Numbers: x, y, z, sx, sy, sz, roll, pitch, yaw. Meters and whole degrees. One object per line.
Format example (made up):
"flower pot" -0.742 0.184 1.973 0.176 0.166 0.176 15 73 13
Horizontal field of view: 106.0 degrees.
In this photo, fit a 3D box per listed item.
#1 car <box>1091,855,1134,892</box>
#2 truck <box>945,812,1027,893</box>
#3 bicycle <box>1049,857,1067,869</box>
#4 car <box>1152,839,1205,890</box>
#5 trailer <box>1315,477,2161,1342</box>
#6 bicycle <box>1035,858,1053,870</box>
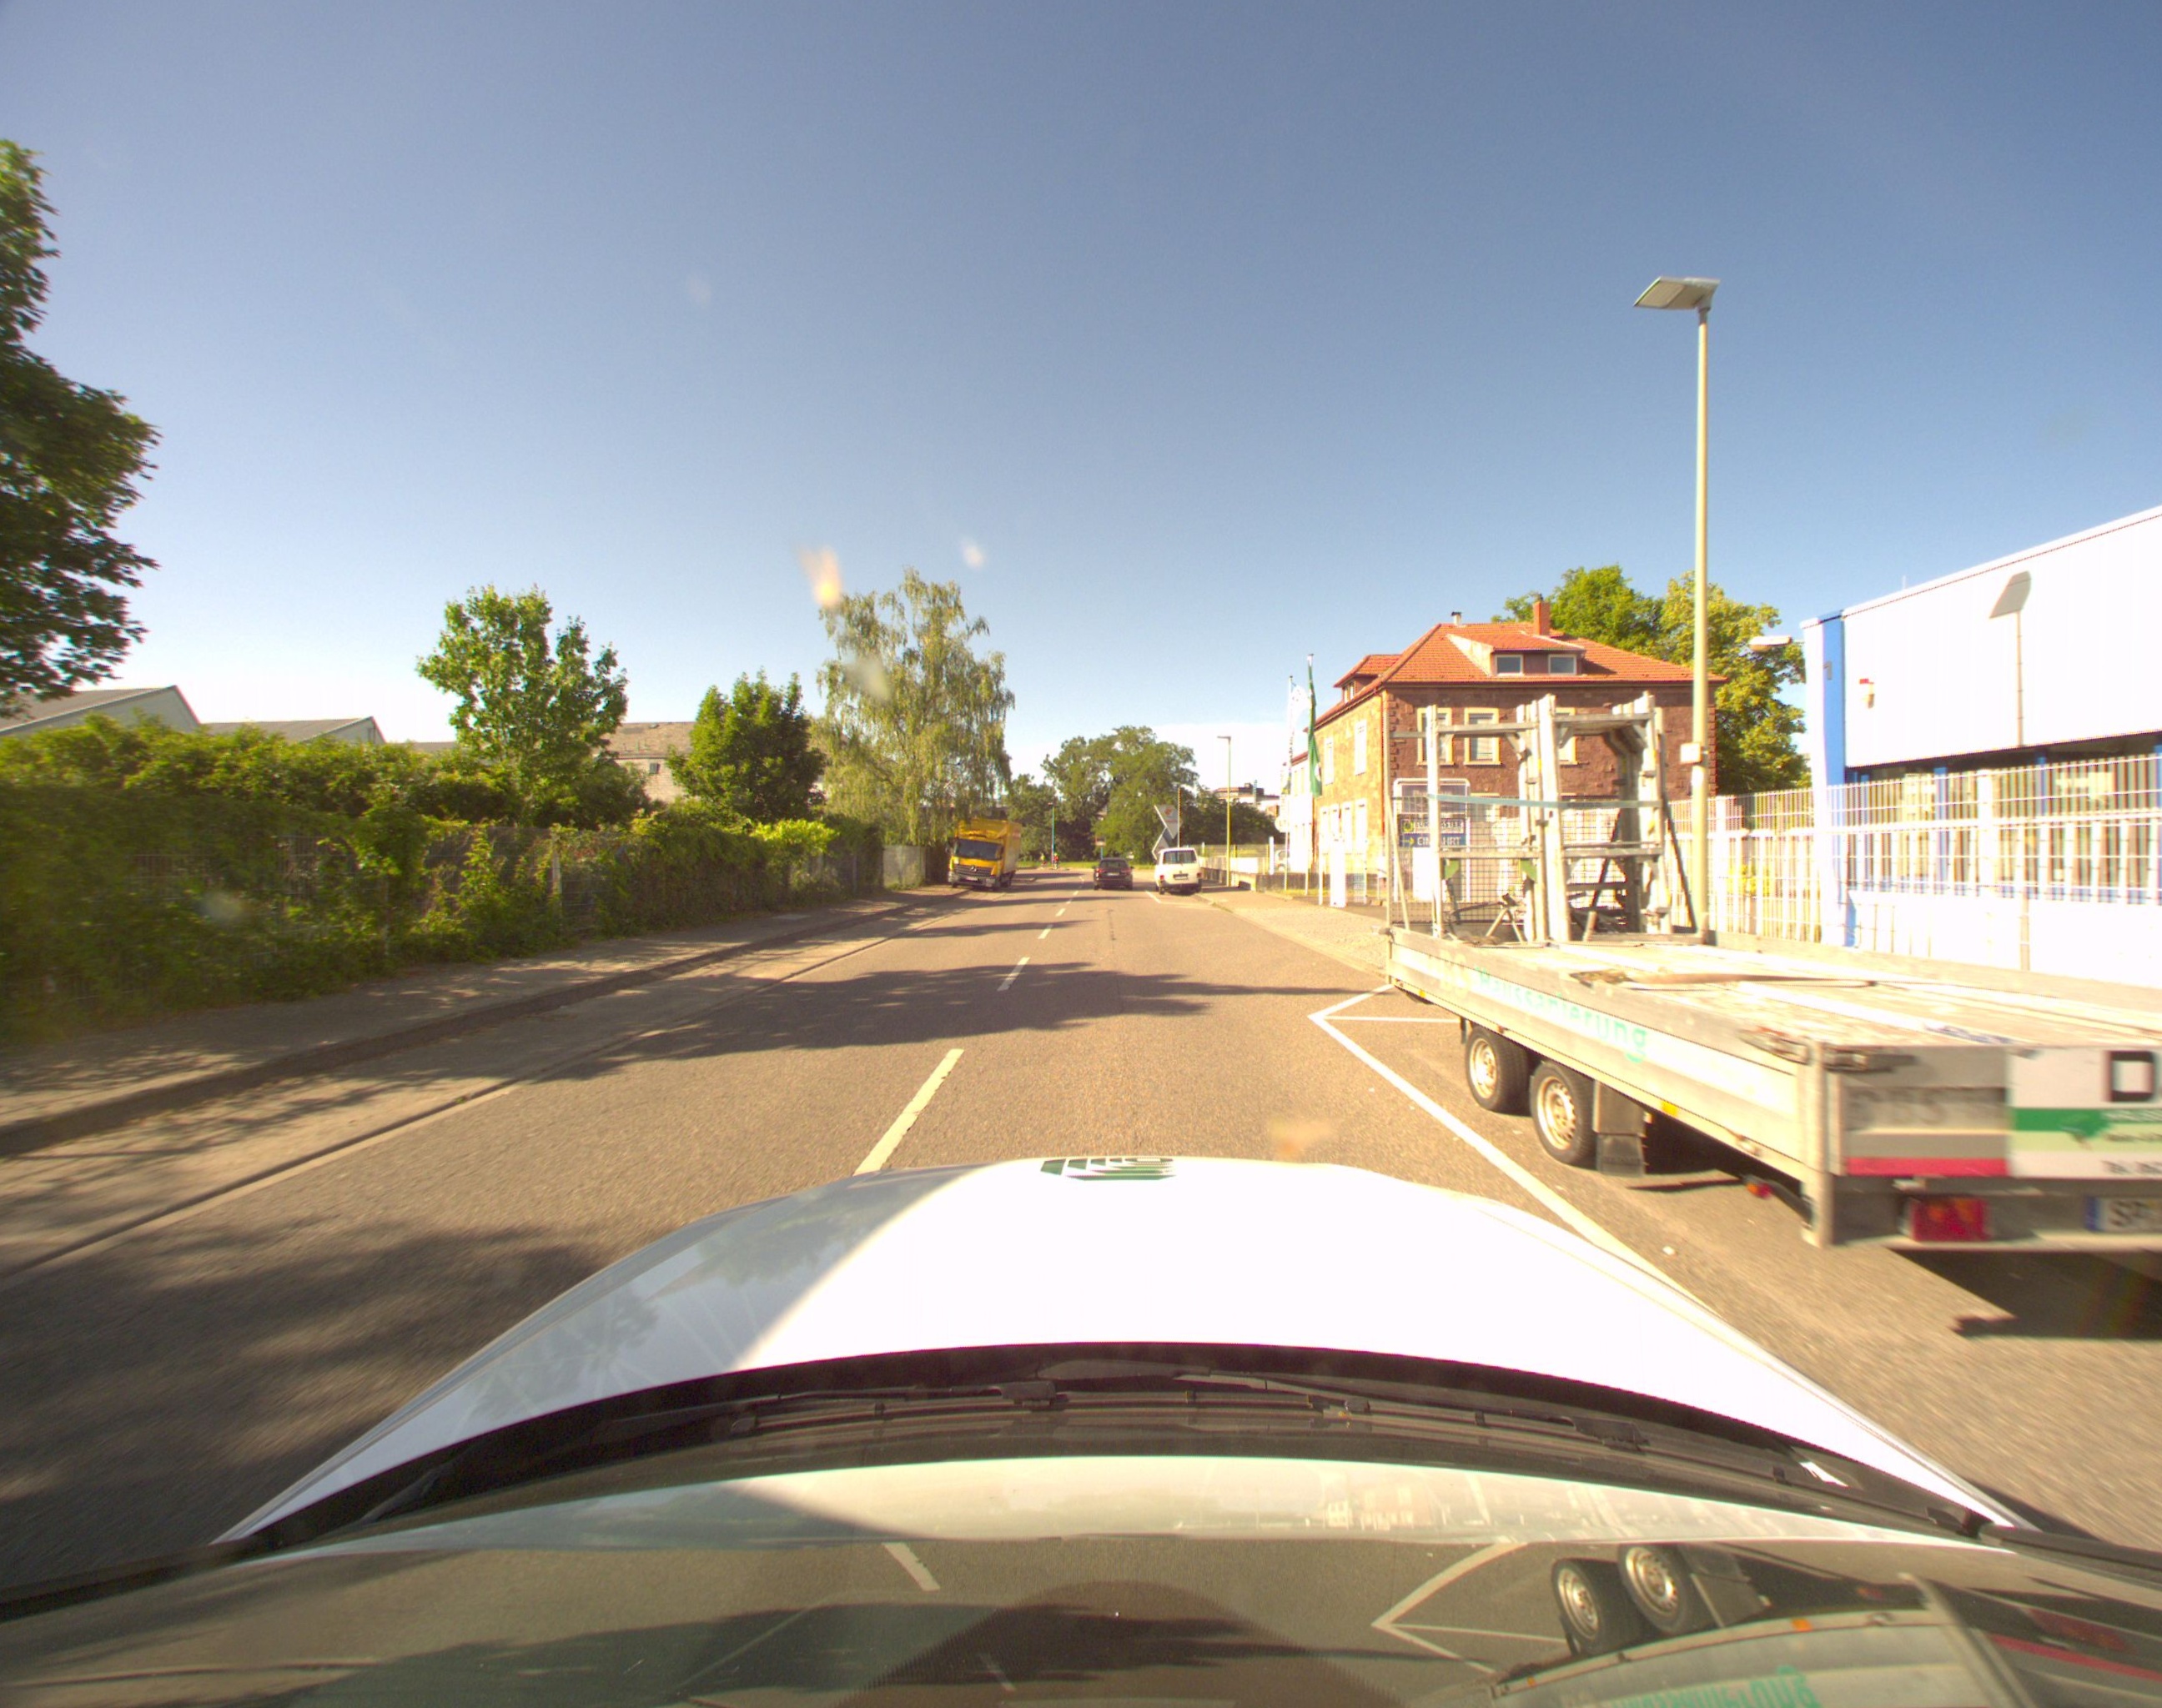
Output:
"car" 1.481 0.872 37.486 1.840 1.530 4.003 -1 0 2
"truck" -4.656 -0.170 41.718 2.622 3.504 8.662 5 1 2
"bicycle" -2.357 0.927 84.225 0.809 1.268 2.235 1 0 -33
"car" 4.154 0.434 35.430 1.867 2.014 5.163 1 0 2
"trailer" 3.530 0.158 5.375 2.451 2.672 5.703 -1 0 2
"bicycle" -3.957 1.042 87.905 0.810 1.221 2.233 1 0 -38
